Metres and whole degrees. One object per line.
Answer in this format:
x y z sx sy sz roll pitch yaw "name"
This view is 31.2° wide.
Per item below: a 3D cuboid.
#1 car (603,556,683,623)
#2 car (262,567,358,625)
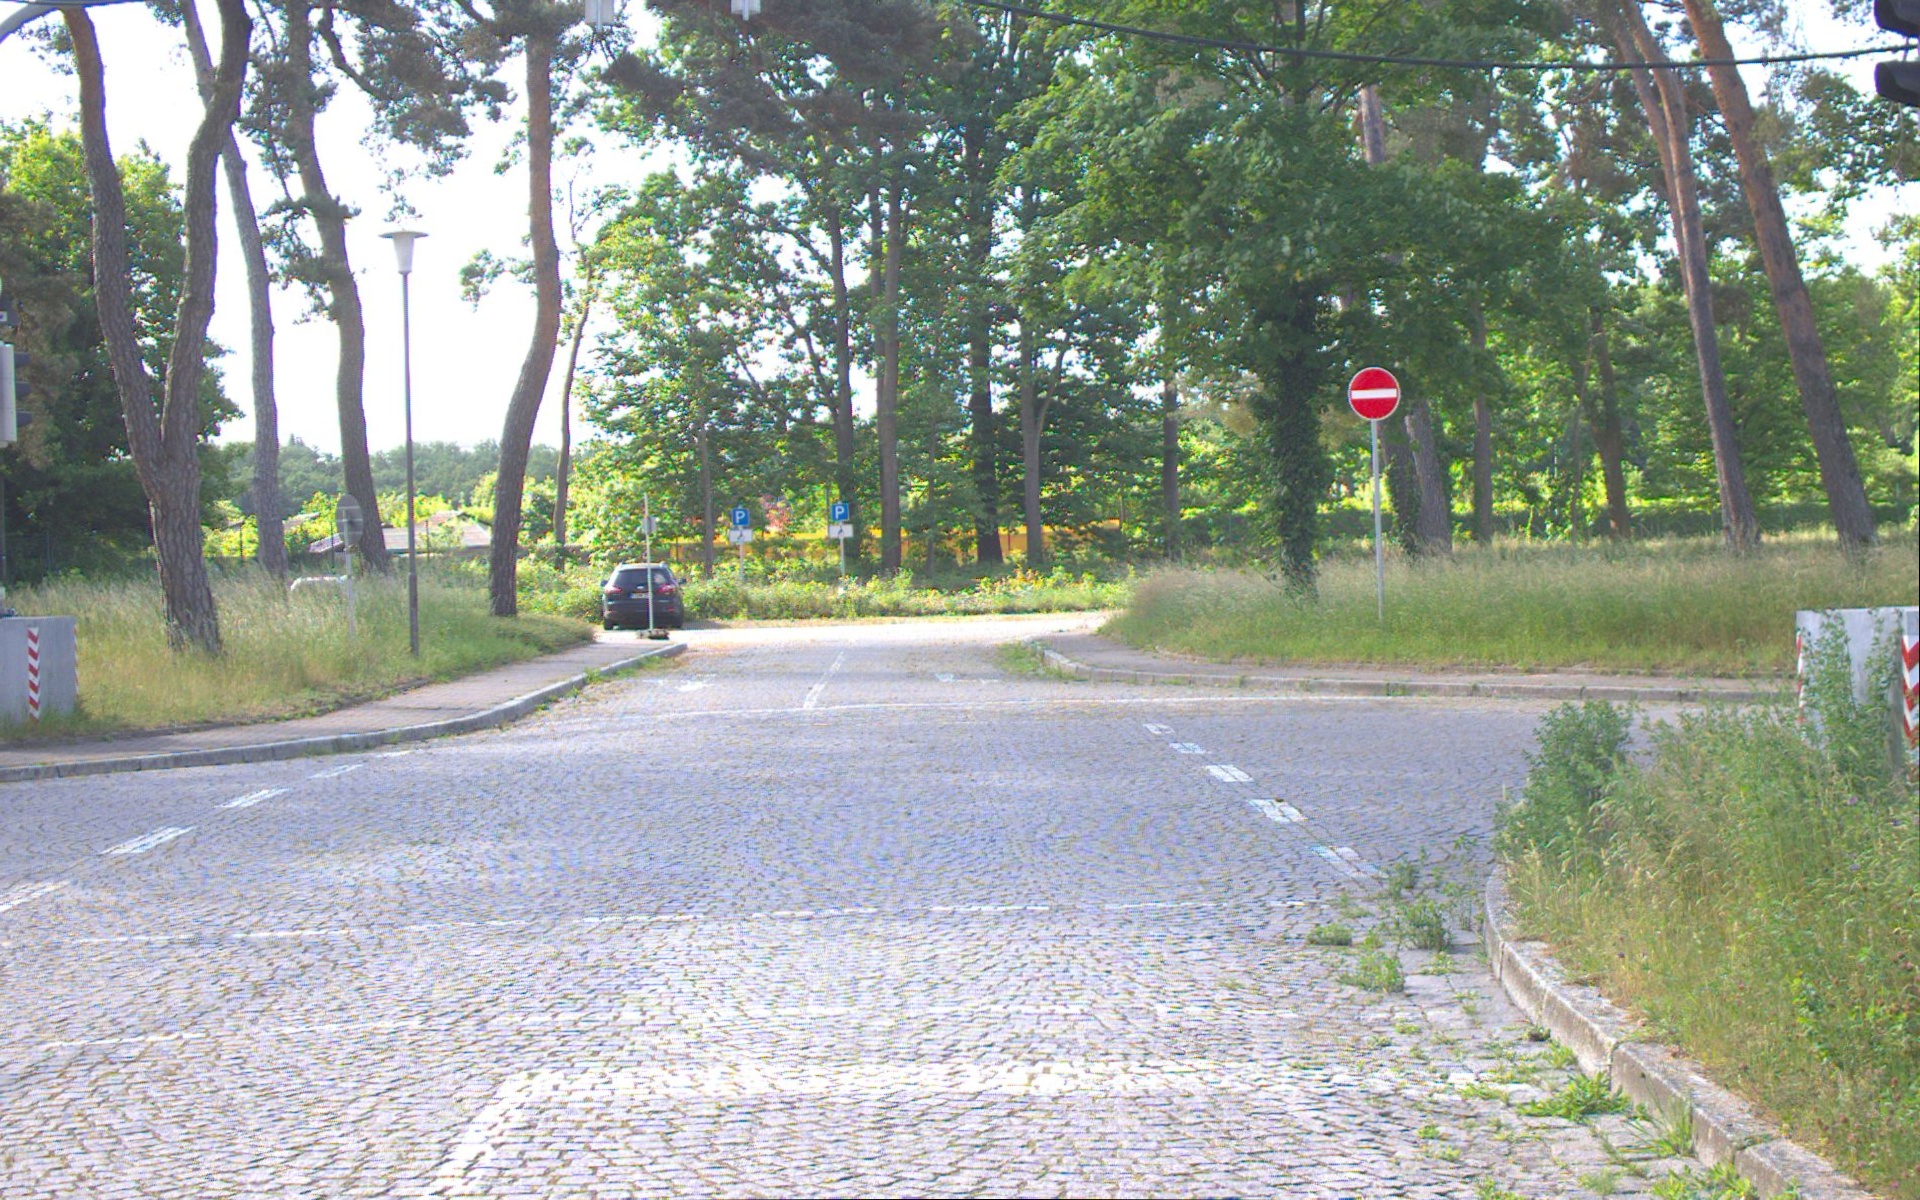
-7.433 -0.266 80.854 1.709 1.491 3.919 -2 1 -3 "car"
-15.381 -0.118 81.524 1.709 1.269 3.919 -2 1 -3 "car"
